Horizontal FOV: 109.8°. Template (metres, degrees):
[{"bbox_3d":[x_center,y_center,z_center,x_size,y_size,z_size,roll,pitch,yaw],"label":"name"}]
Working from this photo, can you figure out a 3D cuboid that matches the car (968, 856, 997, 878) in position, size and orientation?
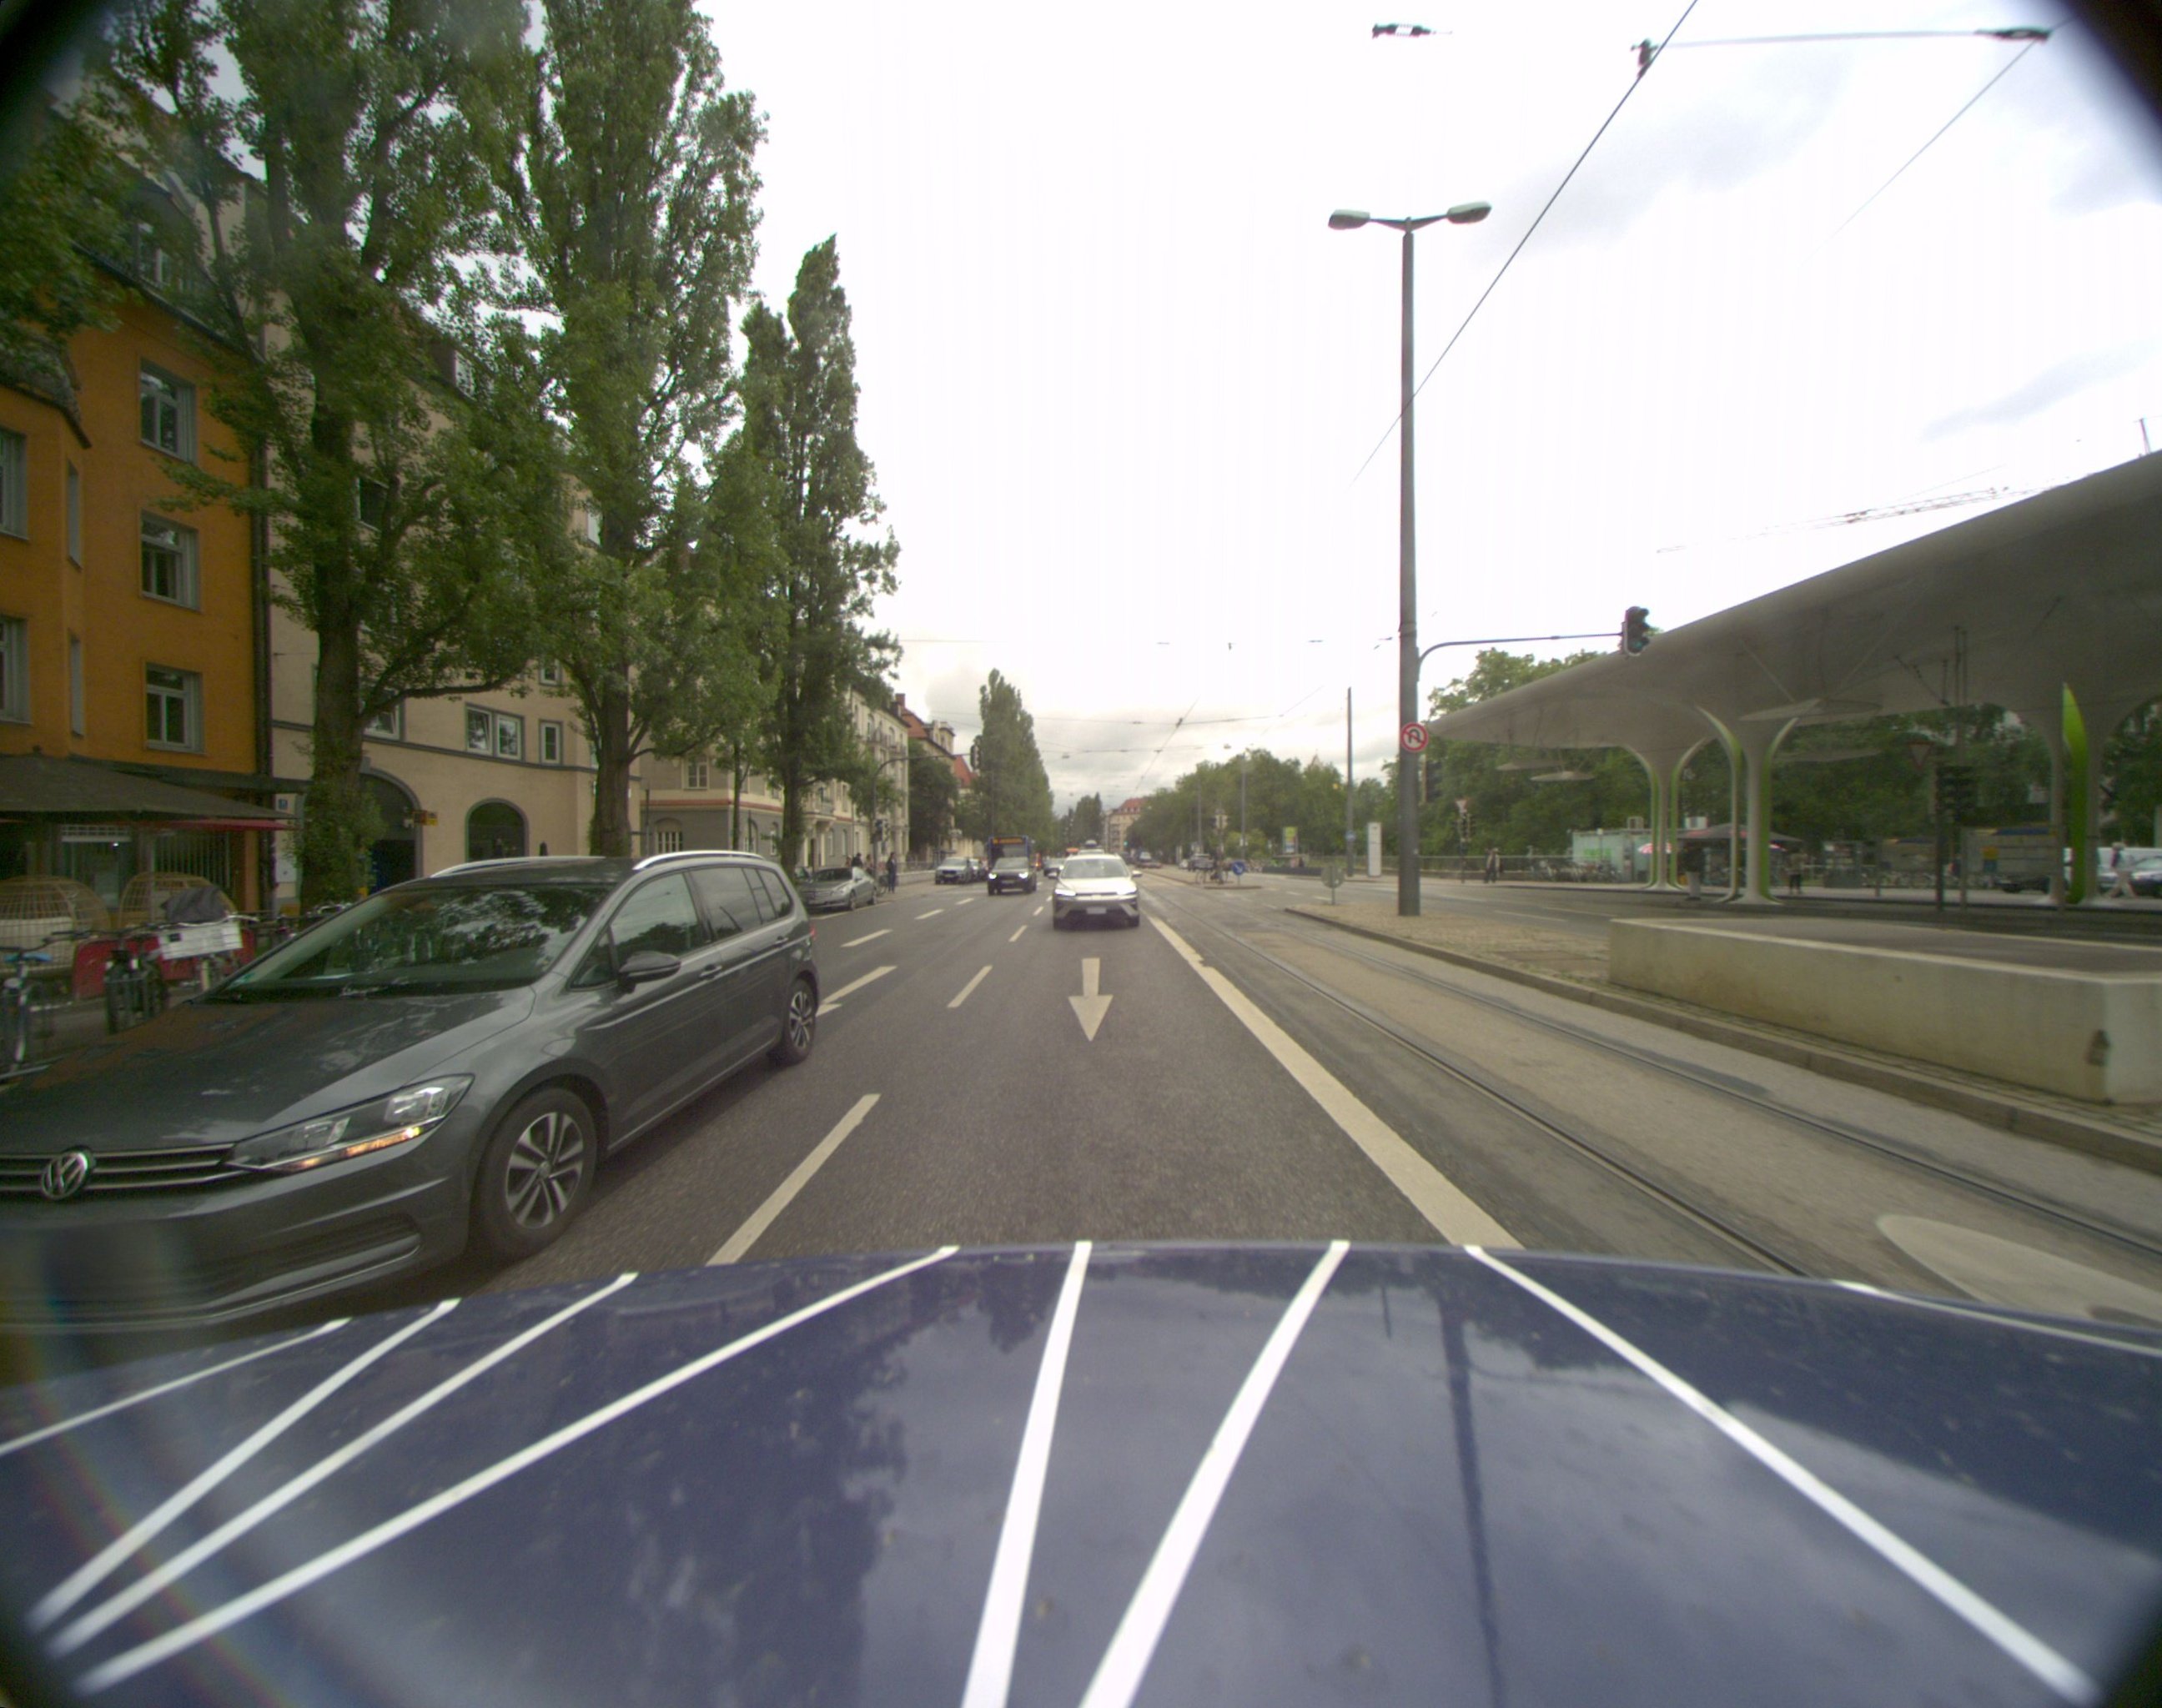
[{"bbox_3d":[-7.340,0.957,56.994,1.730,1.500,3.742,-1,0,0],"label":"car"}]

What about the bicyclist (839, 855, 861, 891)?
[{"bbox_3d":[-10.665,0.868,35.056,0.681,1.594,0.939,0,1,1],"label":"bicyclist"}]

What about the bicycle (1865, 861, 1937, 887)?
[{"bbox_3d":[38.008,0.891,35.255,0.644,1.123,2.524,-1,0,1],"label":"bicycle"}]

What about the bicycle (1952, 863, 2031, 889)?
[{"bbox_3d":[41.786,1.004,34.919,0.644,1.123,2.524,0,0,1],"label":"bicycle"}]

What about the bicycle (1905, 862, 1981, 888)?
[{"bbox_3d":[39.777,0.950,35.115,0.644,1.123,2.524,0,0,1],"label":"bicycle"}]

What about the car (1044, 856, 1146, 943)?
[{"bbox_3d":[0.348,0.831,16.361,1.812,1.496,4.953,-2,0,2],"label":"car"}]

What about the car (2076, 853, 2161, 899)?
[{"bbox_3d":[39.069,0.770,27.220,3.994,1.606,1.832,0,1,9],"label":"car"}]

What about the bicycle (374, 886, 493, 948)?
[{"bbox_3d":[-12.888,1.240,15.147,1.892,1.167,0.582,-1,1,3],"label":"bicycle"}]

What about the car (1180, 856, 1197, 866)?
[{"bbox_3d":[15.735,1.009,111.294,1.893,1.521,4.000,0,0,1],"label":"car"}]

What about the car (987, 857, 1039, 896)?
[{"bbox_3d":[-2.818,0.892,32.178,1.780,1.495,3.970,-1,0,1],"label":"car"}]

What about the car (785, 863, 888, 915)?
[{"bbox_3d":[-7.881,1.074,24.969,1.999,1.432,4.528,-1,0,-1],"label":"car"}]

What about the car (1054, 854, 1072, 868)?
[{"bbox_3d":[-1.819,0.686,78.137,1.704,1.361,3.632,-1,0,1],"label":"car"}]

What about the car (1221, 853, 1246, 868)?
[{"bbox_3d":[16.113,0.670,80.301,1.864,1.517,4.233,0,0,1],"label":"car"}]

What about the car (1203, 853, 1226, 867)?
[{"bbox_3d":[15.882,0.726,90.428,1.998,1.561,4.101,-1,0,1],"label":"car"}]

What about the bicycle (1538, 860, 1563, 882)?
[{"bbox_3d":[24.188,0.846,39.136,0.479,1.090,1.851,0,0,12],"label":"bicycle"}]

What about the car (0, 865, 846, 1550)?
[{"bbox_3d":[-3.039,0.957,4.285,1.776,1.637,4.708,-2,0,2],"label":"car"}]

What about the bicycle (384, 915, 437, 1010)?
[{"bbox_3d":[-8.274,1.294,9.414,0.376,0.990,1.837,-1,-1,-38],"label":"bicycle"}]

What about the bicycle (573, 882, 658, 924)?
[{"bbox_3d":[-12.171,1.281,19.886,1.892,1.048,0.458,-1,1,-2],"label":"bicycle"}]

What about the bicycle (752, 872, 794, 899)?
[{"bbox_3d":[-12.906,1.318,31.884,1.575,1.044,0.392,-2,1,2],"label":"bicycle"}]

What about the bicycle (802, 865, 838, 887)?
[{"bbox_3d":[-14.961,1.249,43.565,1.890,1.148,0.464,-2,1,-41],"label":"bicycle"}]

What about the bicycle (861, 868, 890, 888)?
[{"bbox_3d":[-11.556,1.336,42.794,0.445,1.017,1.842,-1,1,28],"label":"bicycle"}]

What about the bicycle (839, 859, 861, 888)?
[{"bbox_3d":[-10.667,0.877,35.118,0.424,1.281,1.778,-1,0,2],"label":"bicycle"}]

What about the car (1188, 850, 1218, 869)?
[{"bbox_3d":[11.355,0.503,70.970,1.868,1.629,4.677,1,0,-1],"label":"car"}]

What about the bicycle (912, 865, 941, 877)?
[{"bbox_3d":[-13.106,1.405,64.591,2.326,0.916,0.586,-2,1,-16],"label":"bicycle"}]

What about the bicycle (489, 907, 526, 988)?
[{"bbox_3d":[-8.182,1.286,10.818,0.376,0.990,1.837,-1,-1,-38],"label":"bicycle"}]

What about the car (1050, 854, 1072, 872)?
[{"bbox_3d":[-1.682,0.715,64.444,1.704,1.425,4.244,1,1,1],"label":"car"}]

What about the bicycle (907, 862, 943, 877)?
[{"bbox_3d":[-13.414,1.305,65.208,2.922,1.141,0.639,-2,1,-17],"label":"bicycle"}]

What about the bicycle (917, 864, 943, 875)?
[{"bbox_3d":[-14.159,1.435,71.333,2.323,0.916,0.640,-2,1,-2],"label":"bicycle"}]

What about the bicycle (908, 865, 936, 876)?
[{"bbox_3d":[-13.767,1.432,65.800,2.326,0.916,0.586,-2,1,-16],"label":"bicycle"}]

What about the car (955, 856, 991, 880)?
[{"bbox_3d":[-7.391,0.919,52.154,1.730,1.567,3.967,0,0,2],"label":"car"}]

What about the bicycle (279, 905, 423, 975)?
[{"bbox_3d":[-11.610,1.335,12.177,0.458,0.887,1.893,-1,0,0],"label":"bicycle"}]

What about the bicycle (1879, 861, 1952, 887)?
[{"bbox_3d":[38.686,0.886,35.265,0.644,1.123,2.524,-1,0,1],"label":"bicycle"}]

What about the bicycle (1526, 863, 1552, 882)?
[{"bbox_3d":[23.647,0.941,39.255,0.479,0.889,1.850,0,0,9],"label":"bicycle"}]

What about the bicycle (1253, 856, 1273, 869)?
[{"bbox_3d":[16.762,0.791,69.959,1.693,1.165,0.561,-1,1,-9],"label":"bicycle"}]

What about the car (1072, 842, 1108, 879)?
[{"bbox_3d":[0.549,0.347,46.929,1.998,2.100,4.000,-2,1,1],"label":"car"}]

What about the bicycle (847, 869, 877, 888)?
[{"bbox_3d":[-12.319,1.369,42.860,0.445,1.017,1.842,-1,1,28],"label":"bicycle"}]

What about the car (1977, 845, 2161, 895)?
[{"bbox_3d":[39.866,0.621,30.504,4.923,1.936,1.872,0,1,11],"label":"car"}]

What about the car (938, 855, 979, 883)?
[{"bbox_3d":[-7.535,0.875,47.084,1.737,1.651,4.502,-1,0,0],"label":"car"}]

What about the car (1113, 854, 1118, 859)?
[{"bbox_3d":[11.585,0.880,254.455,1.628,1.473,3.602,-1,0,1],"label":"car"}]

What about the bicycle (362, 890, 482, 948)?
[{"bbox_3d":[-12.401,1.220,14.319,1.892,1.048,0.458,-1,1,3],"label":"bicycle"}]

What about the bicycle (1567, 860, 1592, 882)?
[{"bbox_3d":[25.512,0.872,38.898,0.479,1.090,1.851,0,0,14],"label":"bicycle"}]

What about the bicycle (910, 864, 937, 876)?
[{"bbox_3d":[-14.085,1.441,67.968,2.323,0.916,0.640,-2,1,-2],"label":"bicycle"}]

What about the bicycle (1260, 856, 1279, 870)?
[{"bbox_3d":[16.709,0.800,67.421,1.696,1.165,0.560,-1,1,-29],"label":"bicycle"}]

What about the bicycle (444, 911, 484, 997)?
[{"bbox_3d":[-8.239,1.291,10.178,0.376,0.990,1.837,-1,-1,-38],"label":"bicycle"}]

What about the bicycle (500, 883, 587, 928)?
[{"bbox_3d":[-14.044,1.336,19.873,1.892,1.107,0.458,-1,1,-2],"label":"bicycle"}]

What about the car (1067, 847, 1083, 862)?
[{"bbox_3d":[-1.132,0.130,145.060,2.806,2.835,5.115,1,0,1],"label":"car"}]

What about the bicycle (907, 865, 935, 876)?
[{"bbox_3d":[-13.998,1.441,66.545,2.325,0.916,0.586,-2,1,-11],"label":"bicycle"}]

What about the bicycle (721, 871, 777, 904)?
[{"bbox_3d":[-12.207,1.234,27.959,1.801,1.103,0.447,-3,1,3],"label":"bicycle"}]
